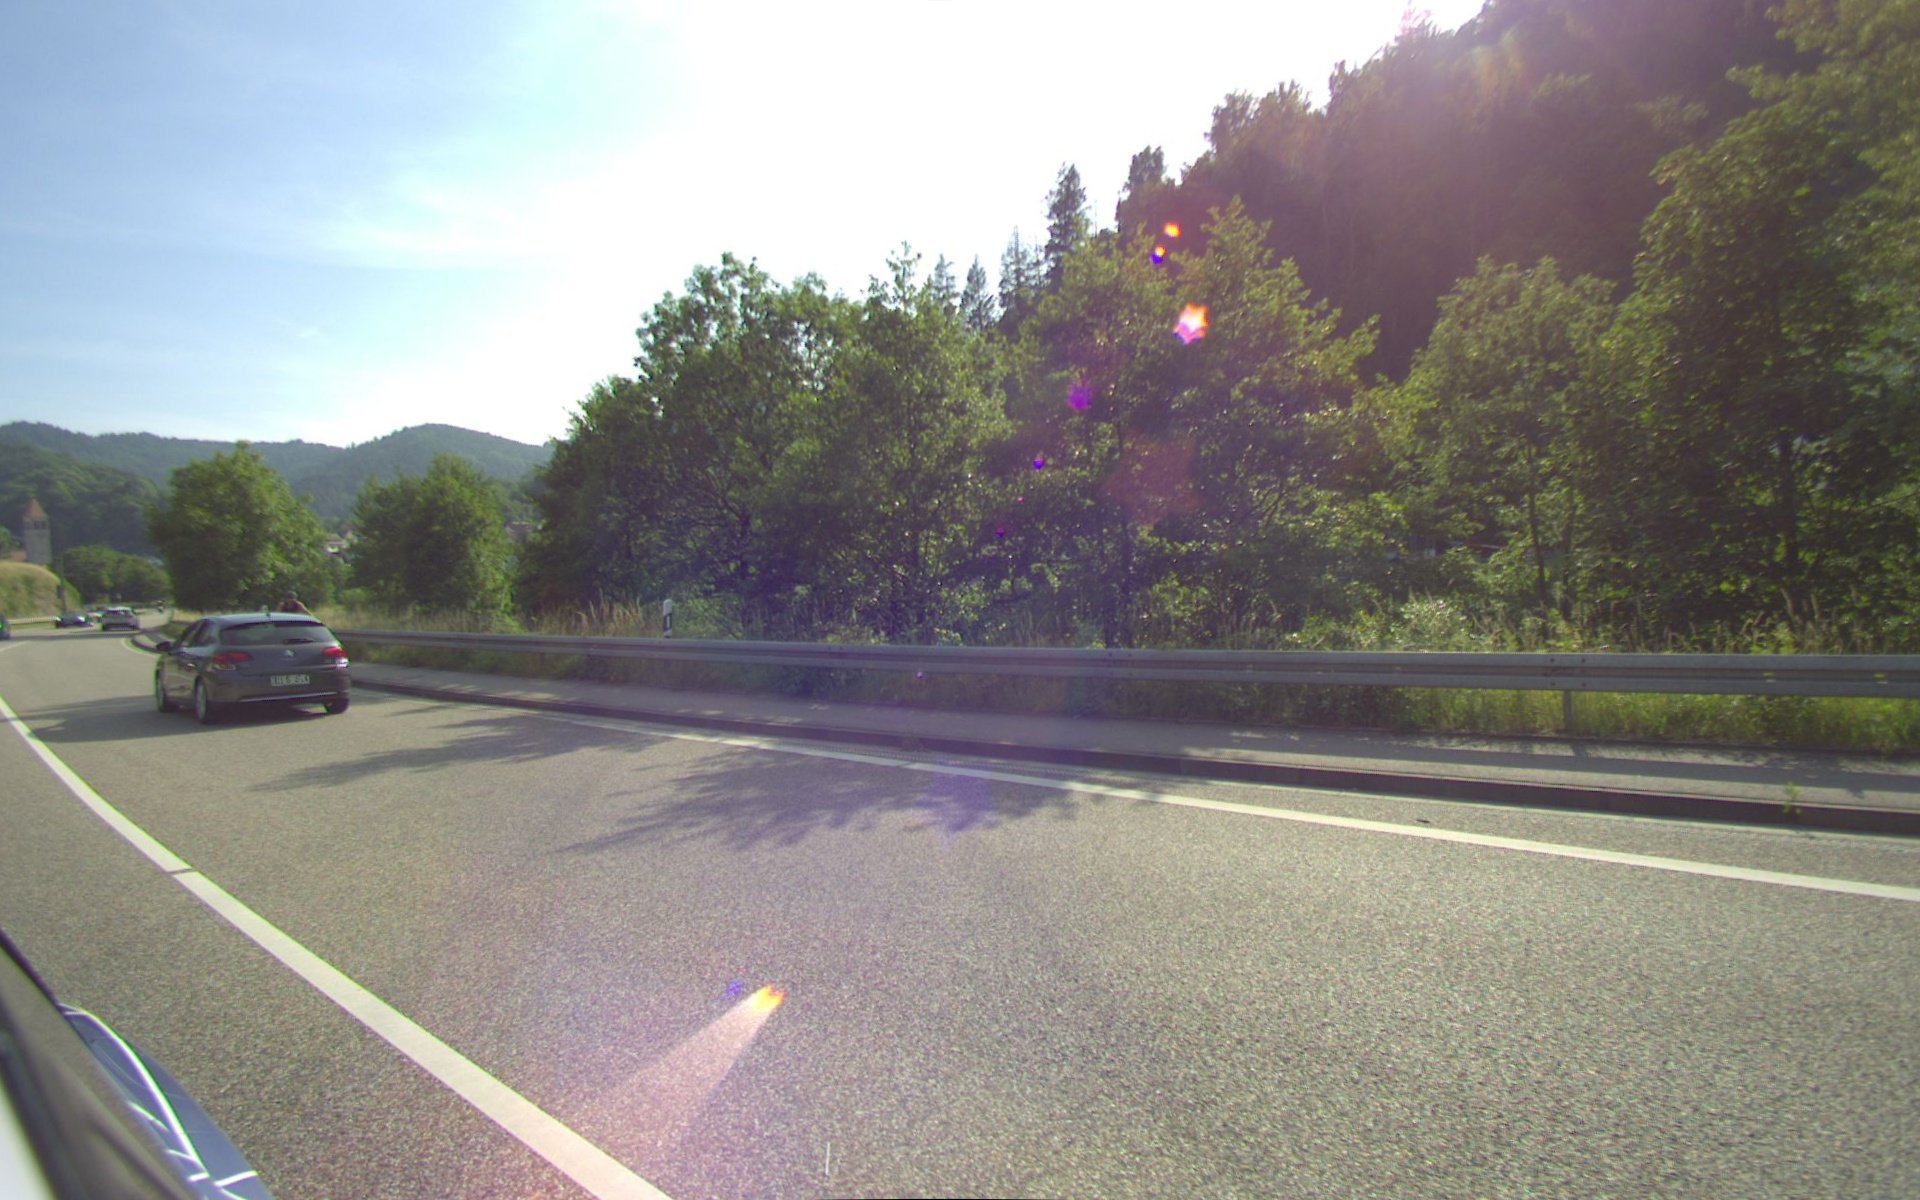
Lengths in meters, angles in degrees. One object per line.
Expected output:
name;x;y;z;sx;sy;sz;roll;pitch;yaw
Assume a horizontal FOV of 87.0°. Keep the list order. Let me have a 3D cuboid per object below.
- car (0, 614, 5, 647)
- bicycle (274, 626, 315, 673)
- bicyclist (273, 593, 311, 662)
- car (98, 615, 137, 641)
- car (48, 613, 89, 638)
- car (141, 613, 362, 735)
car;-51.967;1.618;53.452;1.856;1.758;4.187;-1;-1;-38
bicycle;-16.349;1.198;24.842;0.550;1.053;2.233;-6;3;-38
bicyclist;-16.359;0.667;24.789;0.550;1.598;1.037;-6;3;-39
car;-57.978;1.898;69.606;1.969;1.641;4.006;0;0;-41
car;-68.421;1.941;77.695;1.855;1.758;4.189;-1;0;-35
car;-10.396;0.963;14.744;4.000;1.500;1.870;-1;0;43
